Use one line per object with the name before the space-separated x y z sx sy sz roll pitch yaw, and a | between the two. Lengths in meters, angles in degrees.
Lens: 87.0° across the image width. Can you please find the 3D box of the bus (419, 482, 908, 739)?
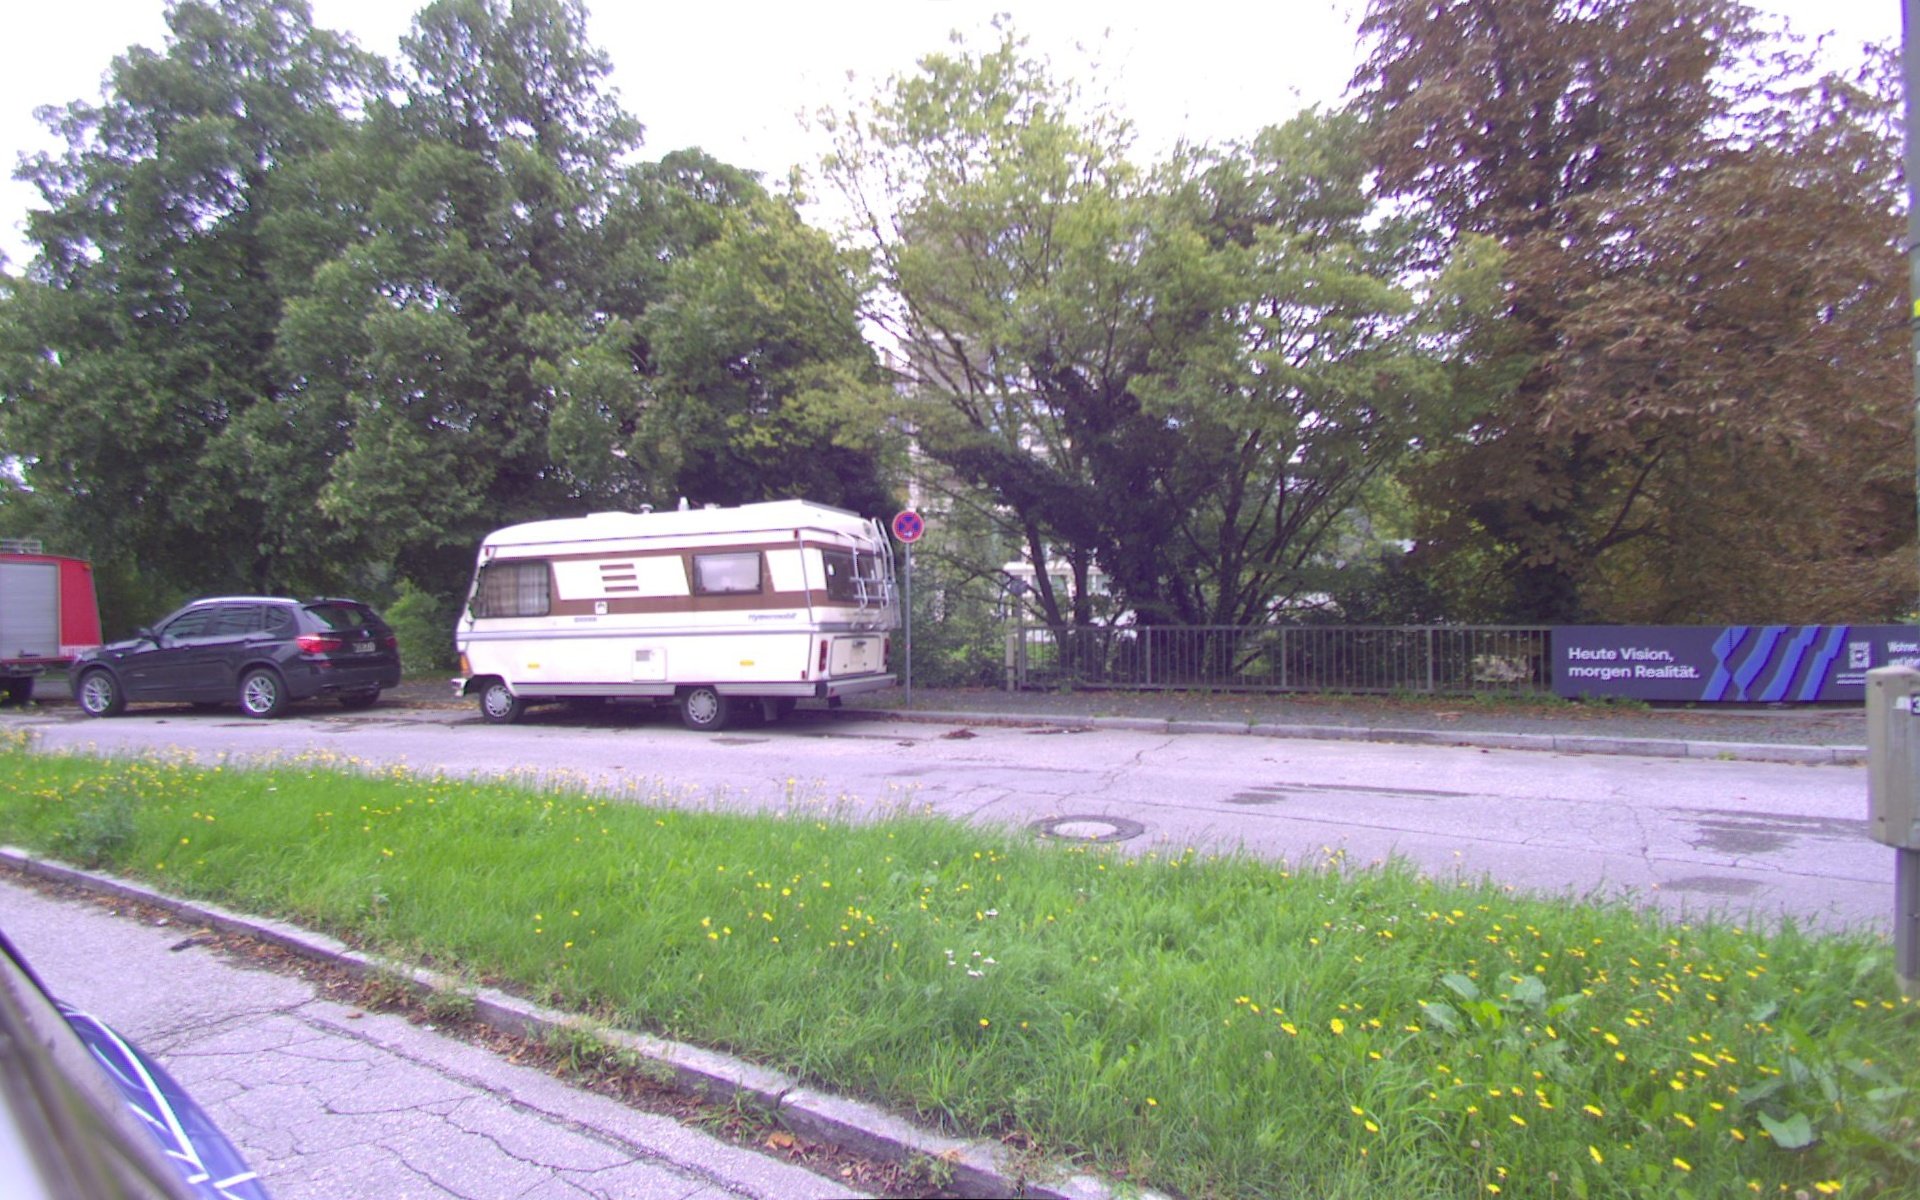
bus | -3.710 0.176 12.794 5.690 2.719 2.308 -1 -2 20

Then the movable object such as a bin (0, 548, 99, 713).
movable object such as a bin | -17.293 0.502 16.252 6.126 2.477 2.102 -1 -2 14

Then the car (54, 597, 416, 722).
car | -10.468 0.832 14.719 4.413 1.662 1.775 -1 -2 12
